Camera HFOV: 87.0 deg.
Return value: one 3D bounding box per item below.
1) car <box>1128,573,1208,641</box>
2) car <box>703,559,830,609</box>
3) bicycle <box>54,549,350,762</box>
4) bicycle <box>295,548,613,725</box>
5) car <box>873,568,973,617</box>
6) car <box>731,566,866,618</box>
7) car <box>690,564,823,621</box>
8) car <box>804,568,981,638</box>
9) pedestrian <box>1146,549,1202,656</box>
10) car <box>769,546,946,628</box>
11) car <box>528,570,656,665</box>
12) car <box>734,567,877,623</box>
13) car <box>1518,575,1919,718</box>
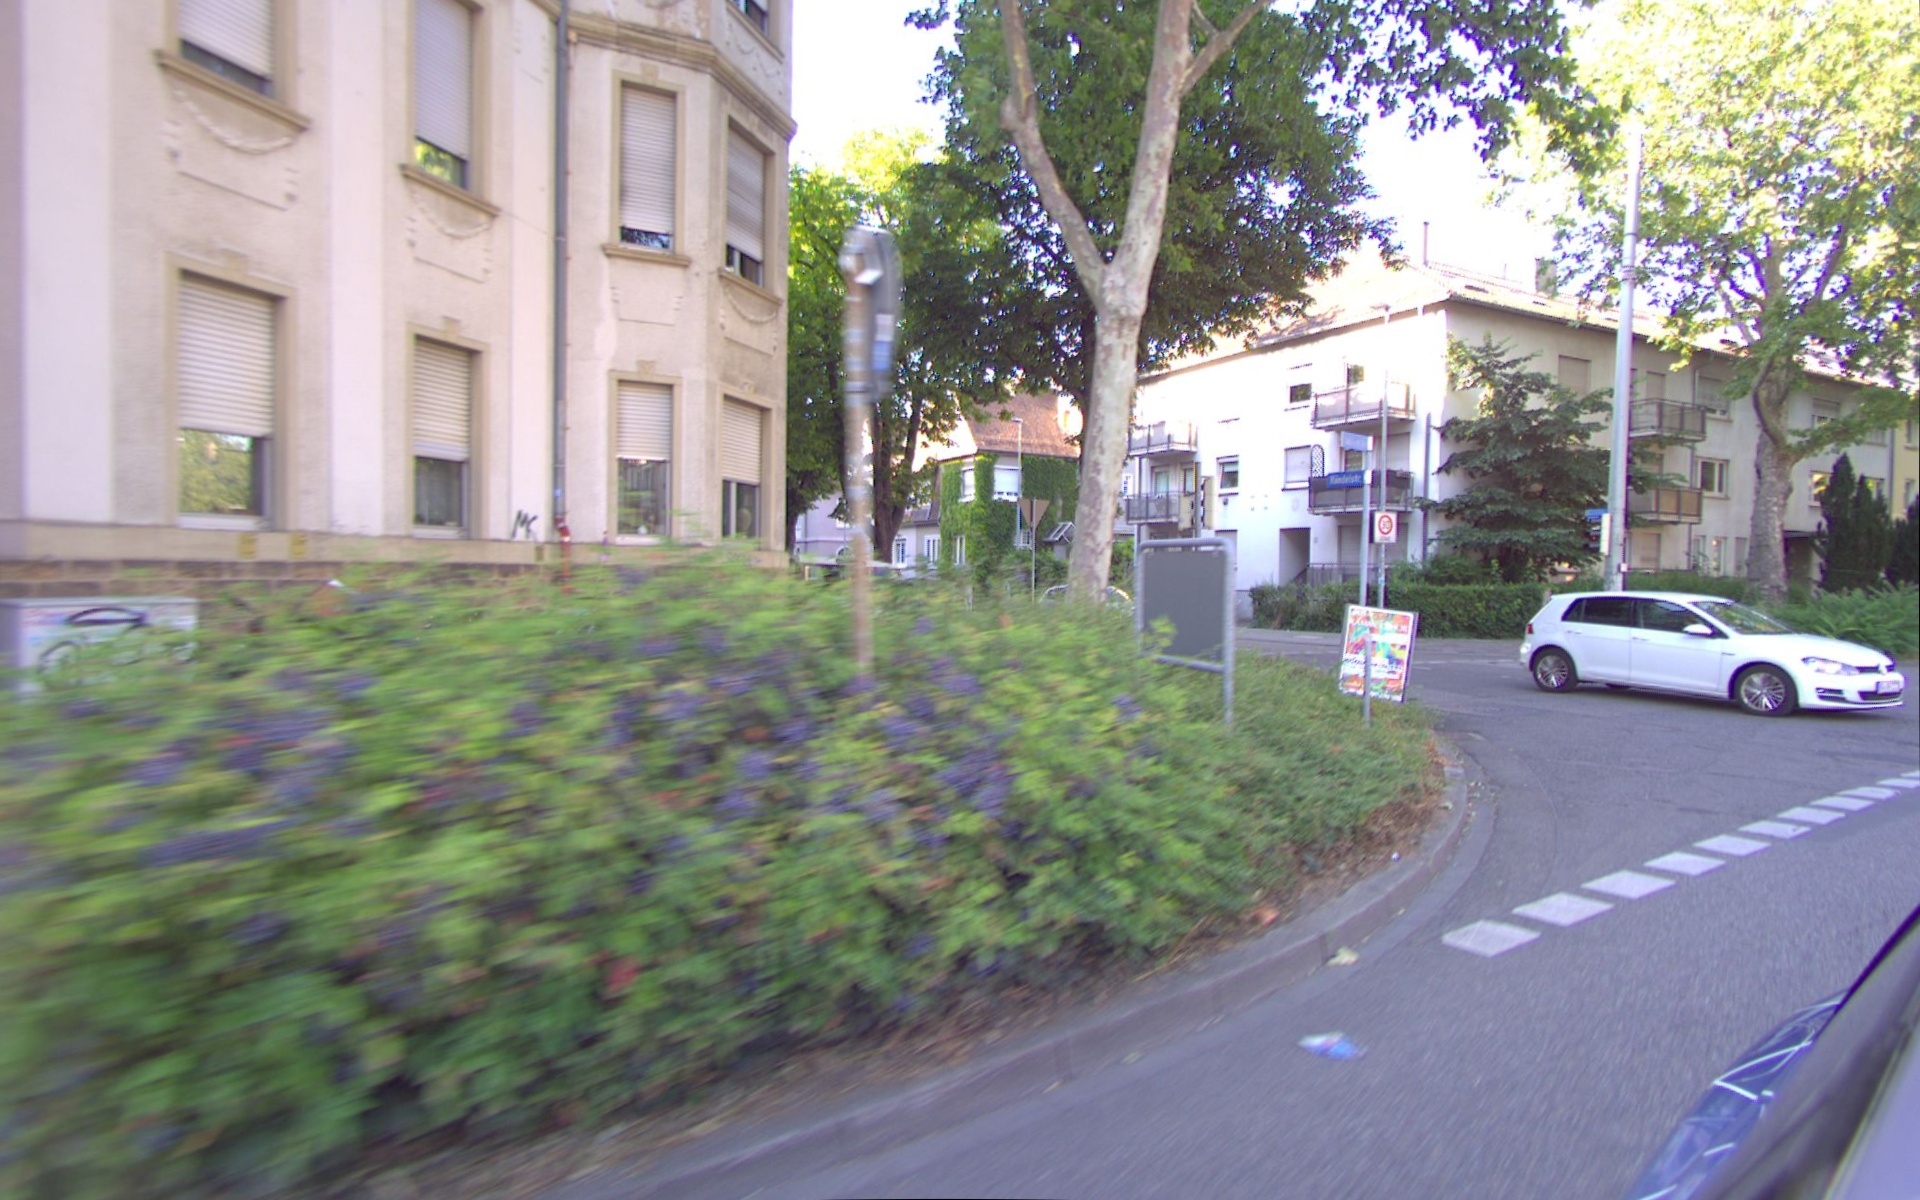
[{"bbox_3d":[5.291,0.119,26.164,1.814,1.536,4.014,0,3,9],"label":"car"},{"bbox_3d":[-6.987,-0.628,36.604,4.125,1.708,2.004,-1,3,-27],"label":"car"},{"bbox_3d":[-5.639,0.339,7.693,0.366,1.412,1.920,1,2,19],"label":"bicycle"},{"bbox_3d":[-4.859,0.236,10.149,0.940,1.490,3.143,1,3,17],"label":"bicycle"},{"bbox_3d":[-1.390,-0.335,35.783,1.806,1.536,4.763,-1,3,-25],"label":"car"},{"bbox_3d":[-5.523,-0.316,34.637,4.125,1.626,2.004,-1,3,-27],"label":"car"},{"bbox_3d":[-7.742,-0.340,38.593,4.617,2.038,2.004,-1,3,-27],"label":"car"},{"bbox_3d":[-1.637,0.052,24.737,3.965,1.595,1.687,0,1,-27],"label":"car"},{"bbox_3d":[3.729,0.030,17.657,0.687,1.828,0.668,-1,2,-20],"label":"pedestrian"},{"bbox_3d":[-2.764,-0.340,27.309,4.343,2.008,1.764,1,4,-25],"label":"car"},{"bbox_3d":[-4.281,0.175,11.833,0.916,0.959,1.058,5,4,20],"label":"car"},{"bbox_3d":[-4.955,-0.202,32.463,4.125,1.648,1.977,-1,3,-27],"label":"car"},{"bbox_3d":[9.863,0.456,13.310,1.806,1.468,4.119,-1,3,-25],"label":"car"}]
